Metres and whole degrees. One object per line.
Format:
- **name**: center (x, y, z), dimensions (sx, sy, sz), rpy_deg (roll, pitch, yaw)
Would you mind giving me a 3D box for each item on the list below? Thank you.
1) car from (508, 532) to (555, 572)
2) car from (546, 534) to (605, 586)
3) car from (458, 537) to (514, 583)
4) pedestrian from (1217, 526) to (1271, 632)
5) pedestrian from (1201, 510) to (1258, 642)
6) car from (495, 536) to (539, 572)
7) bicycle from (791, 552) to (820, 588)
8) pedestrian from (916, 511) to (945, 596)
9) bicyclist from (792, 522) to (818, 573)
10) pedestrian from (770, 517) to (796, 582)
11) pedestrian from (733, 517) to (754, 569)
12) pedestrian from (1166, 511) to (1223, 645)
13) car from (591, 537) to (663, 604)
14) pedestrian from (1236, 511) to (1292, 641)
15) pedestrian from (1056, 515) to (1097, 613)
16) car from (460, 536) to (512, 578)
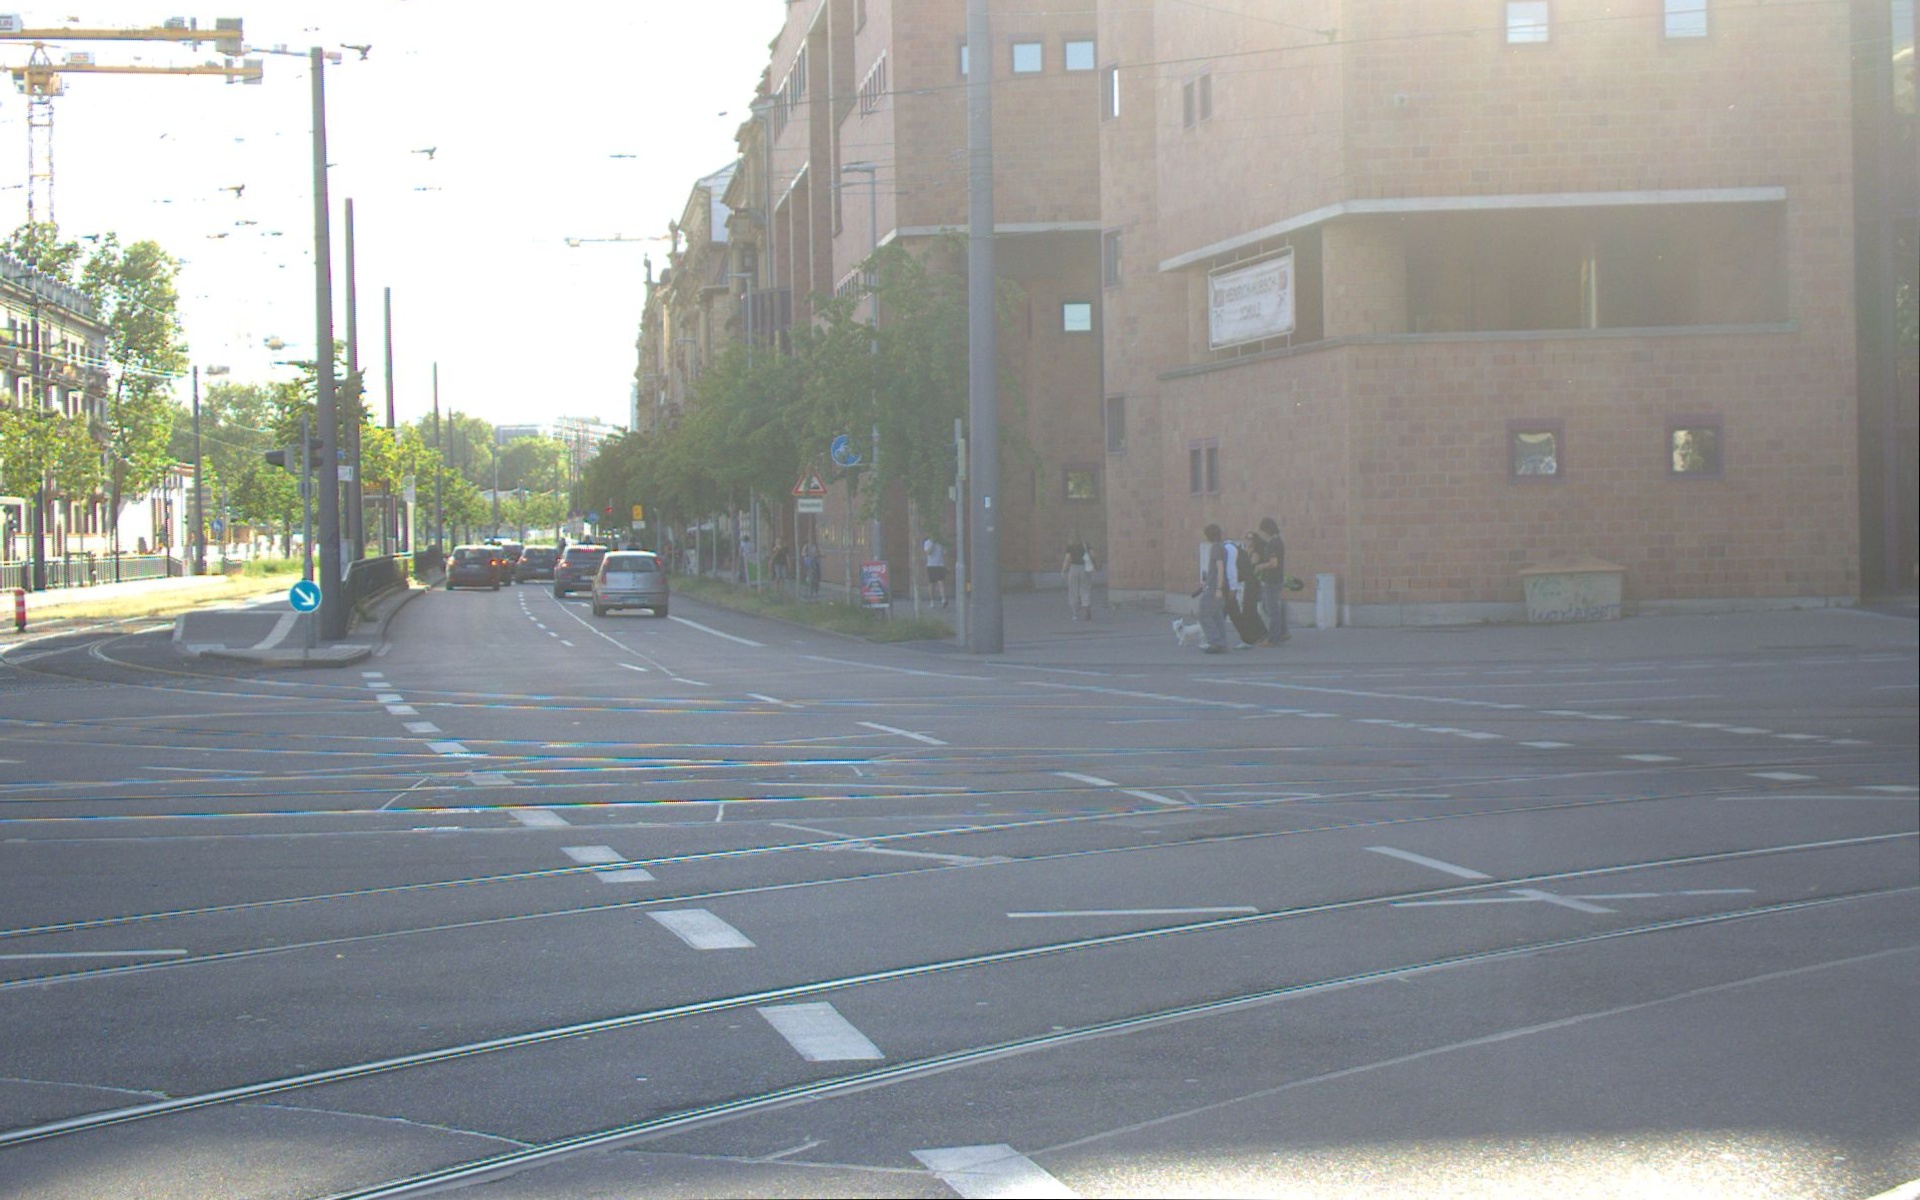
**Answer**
- **car**: center (-16.512, -1.868, 132.660), dimensions (1.720, 1.448, 3.699), rpy_deg (-2, 1, -6)
- **car**: center (-11.469, -1.205, 102.593), dimensions (1.671, 1.448, 3.699), rpy_deg (-2, 1, -6)
- **car**: center (-15.864, -1.353, 115.179), dimensions (1.720, 1.448, 3.699), rpy_deg (-2, 1, -6)
- **pedestrian**: center (4.043, -0.304, 48.956), dimensions (0.547, 1.472, 0.573), rpy_deg (-2, 2, -24)
- **pedestrian**: center (3.689, -0.334, 47.110), dimensions (0.571, 1.780, 0.549), rpy_deg (-2, 1, -14)
- **car**: center (-18.348, -1.917, 142.530), dimensions (1.720, 1.448, 3.699), rpy_deg (-2, 1, -6)
- **bicycle**: center (-4.121, -0.797, 91.795), dimensions (0.648, 0.901, 2.346), rpy_deg (-1, 2, -5)
- **pedestrian**: center (-0.634, -0.988, 73.360), dimensions (0.547, 1.779, 0.573), rpy_deg (-1, 4, -4)
- **bicyclist**: center (-4.138, -1.398, 91.893), dimensions (0.645, 1.334, 0.653), rpy_deg (-1, 1, -5)
- **pedestrian**: center (-4.988, -1.420, 96.683), dimensions (0.640, 1.780, 0.688), rpy_deg (-2, 1, -6)
- **pedestrian**: center (-7.491, -1.963, 118.995), dimensions (0.640, 1.780, 0.688), rpy_deg (-2, 1, -4)
- **pedestrian**: center (3.168, -0.304, 46.501), dimensions (0.571, 1.780, 0.549), rpy_deg (-2, 1, -14)
- **car**: center (-7.546, -0.689, 78.020), dimensions (1.559, 1.451, 3.432), rpy_deg (-1, 1, -5)
- **pedestrian**: center (4.220, -0.335, 47.744), dimensions (0.571, 1.780, 0.549), rpy_deg (-2, 1, -14)
- **pedestrian**: center (2.146, -0.660, 63.515), dimensions (0.640, 1.780, 0.688), rpy_deg (-2, 1, -4)
- **car**: center (-17.332, -1.570, 125.842), dimensions (1.720, 1.448, 3.699), rpy_deg (-2, 1, -6)
